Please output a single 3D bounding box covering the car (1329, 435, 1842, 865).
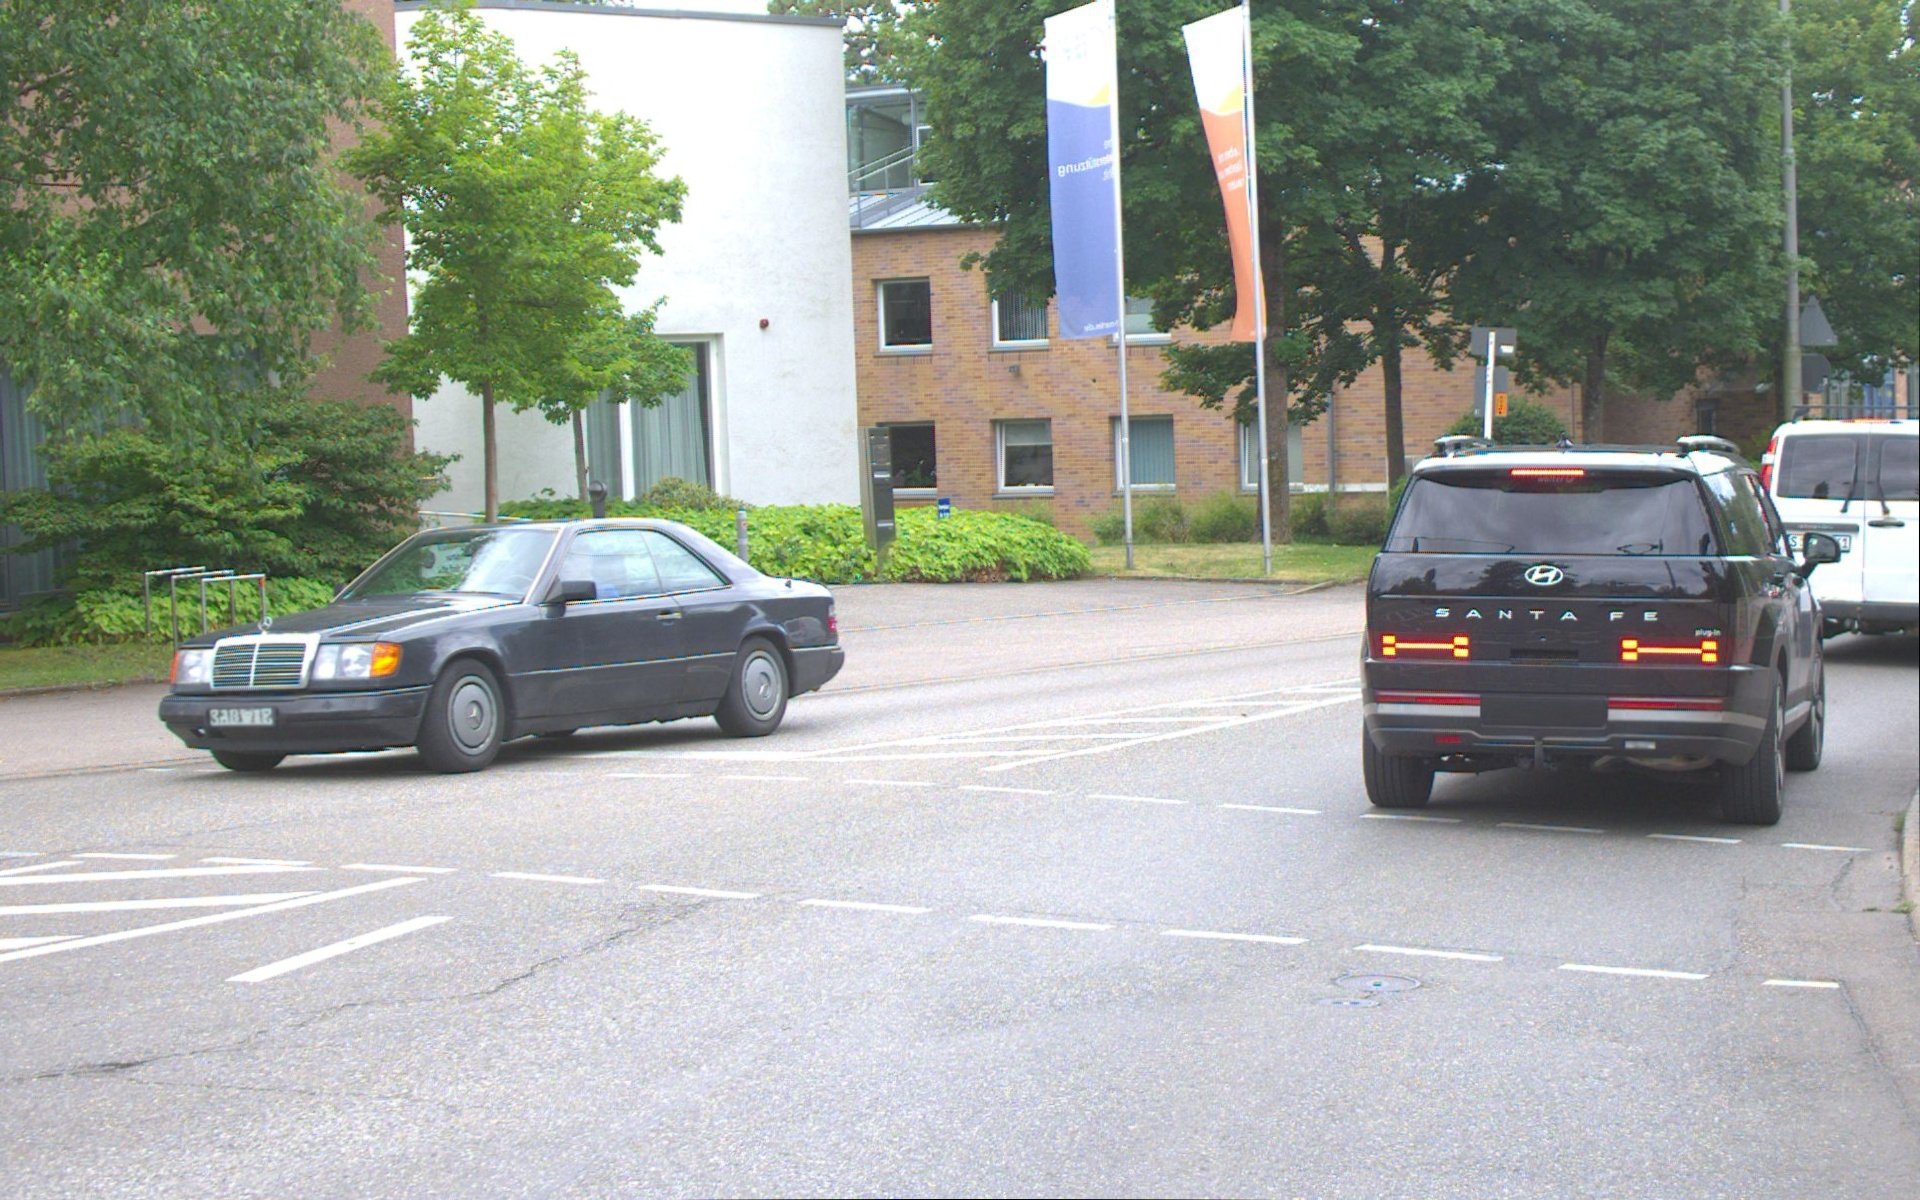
[{"bbox_3d":[3.194,0.104,16.862,1.959,1.706,4.221,3,4,17],"label":"car"}]

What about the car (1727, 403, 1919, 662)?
[{"bbox_3d":[7.814,-0.545,27.887,1.960,1.949,4.216,1,1,29],"label":"car"}]

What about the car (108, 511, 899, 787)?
[{"bbox_3d":[-2.475,0.211,20.004,1.849,1.323,4.860,-1,2,32],"label":"car"}]
